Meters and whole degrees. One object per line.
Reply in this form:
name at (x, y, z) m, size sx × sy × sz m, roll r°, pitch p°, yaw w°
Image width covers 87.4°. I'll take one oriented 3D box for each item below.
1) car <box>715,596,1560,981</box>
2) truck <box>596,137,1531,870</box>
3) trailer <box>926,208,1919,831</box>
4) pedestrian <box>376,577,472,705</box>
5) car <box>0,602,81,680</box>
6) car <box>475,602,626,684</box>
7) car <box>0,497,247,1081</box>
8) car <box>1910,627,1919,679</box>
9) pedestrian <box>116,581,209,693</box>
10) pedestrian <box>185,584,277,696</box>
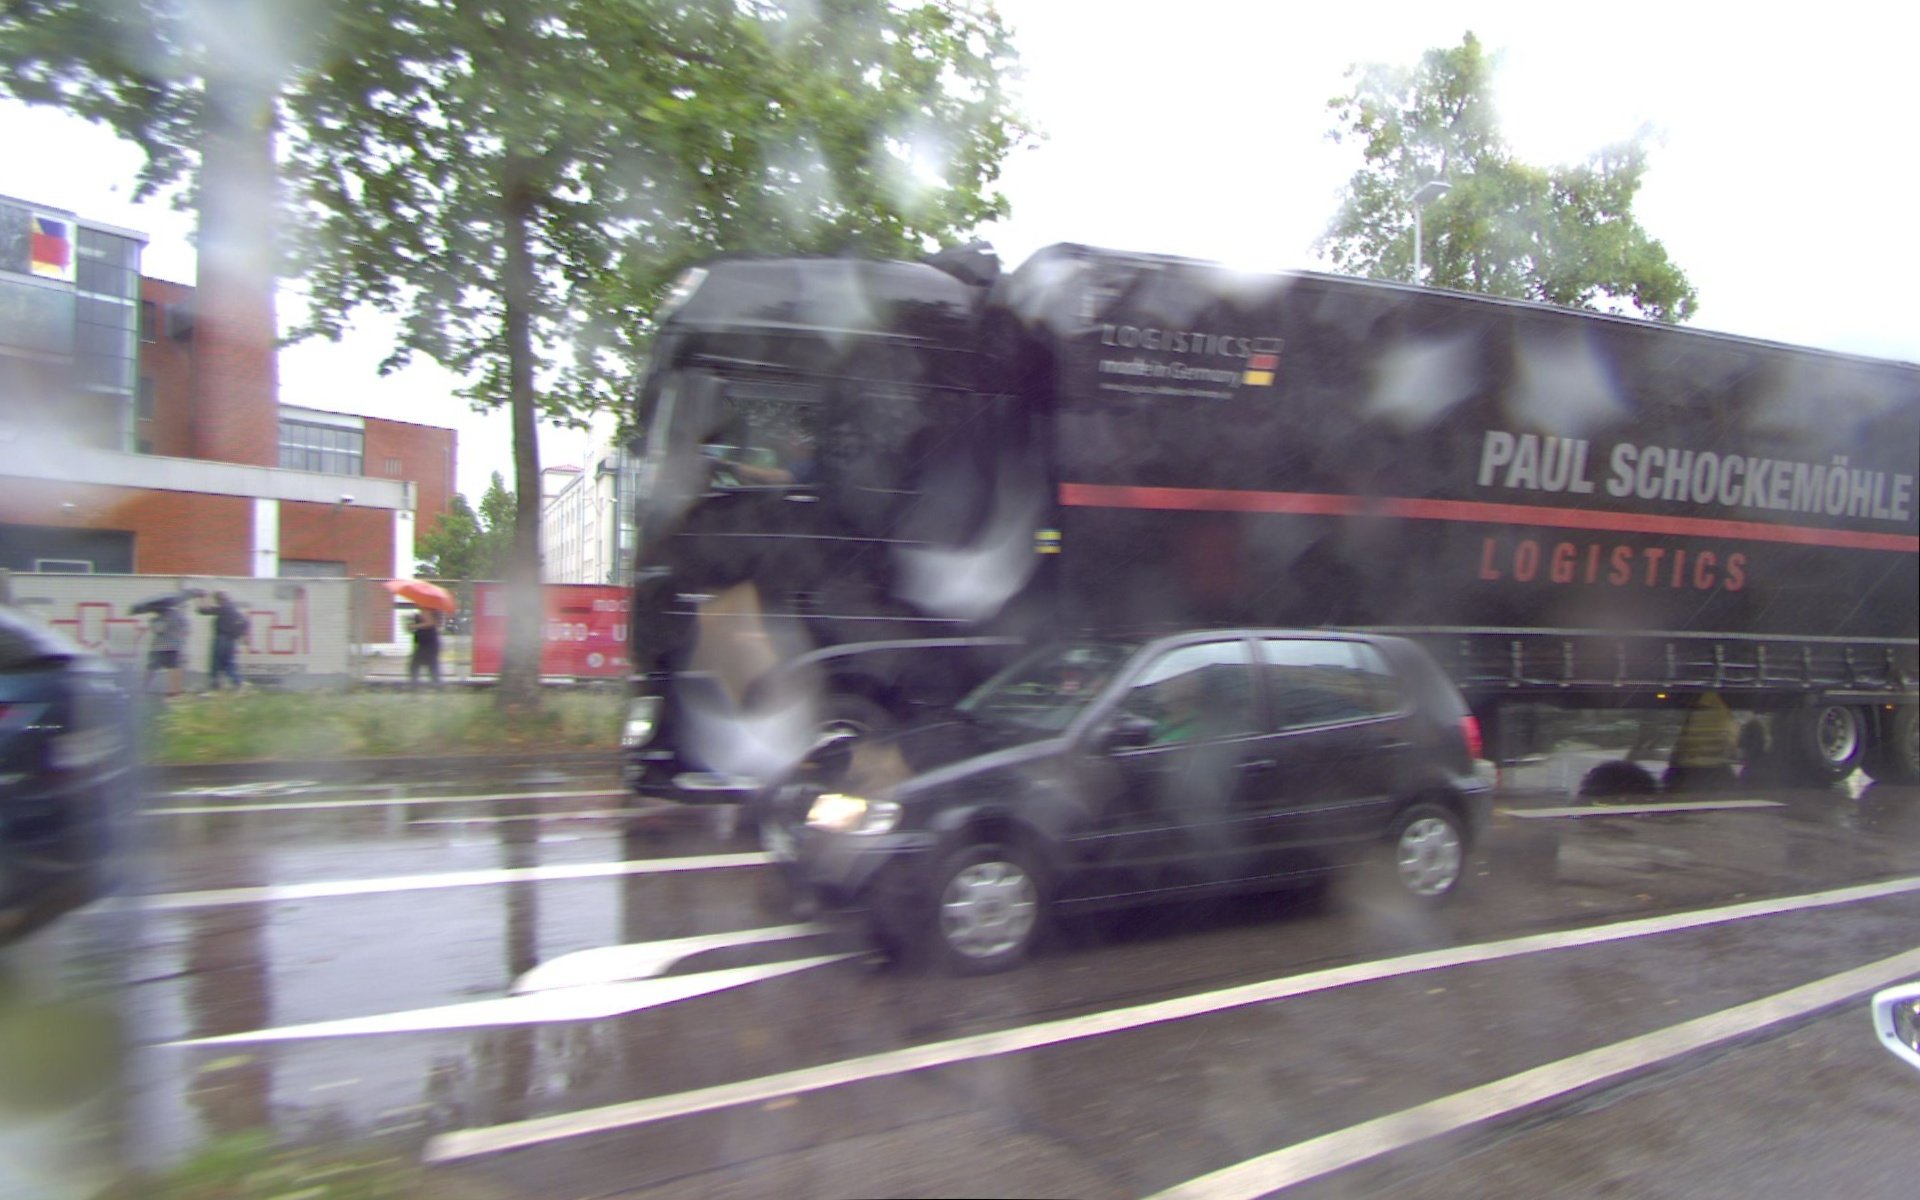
car at (0.909, 0.711, 5.189) m, size 4.040 × 1.391 × 1.695 m, roll 1°, pitch -1°, yaw -22°
truck at (0.689, -0.485, 8.416) m, size 6.865 × 4.133 × 3.447 m, roll 1°, pitch 0°, yaw -19°
trailer at (7.215, -0.392, 10.624) m, size 14.814 × 4.102 × 3.440 m, roll 1°, pitch -1°, yaw -19°
pedestrian at (-7.298, 0.548, 13.682) m, size 0.891 × 1.671 × 0.753 m, roll 0°, pitch -1°, yaw 26°
car at (-17.531, 0.705, 17.244) m, size 1.808 × 1.339 × 3.663 m, roll 1°, pitch 0°, yaw -5°
car at (-7.337, 0.721, 18.349) m, size 1.811 × 1.339 × 3.658 m, roll 1°, pitch 0°, yaw -10°
car at (-5.264, 0.533, 2.906) m, size 4.861 × 1.705 × 2.068 m, roll 0°, pitch 2°, yaw -25°
car at (27.944, 1.496, 26.325) m, size 4.276 × 1.414 × 2.002 m, roll 2°, pitch 0°, yaw 42°
pedestrian at (-11.244, 0.514, 14.174) m, size 0.756 × 1.535 × 0.643 m, roll 0°, pitch -1°, yaw 4°
pedestrian at (-10.745, 0.585, 14.824) m, size 0.863 × 1.602 × 0.643 m, roll 0°, pitch -1°, yaw 4°
